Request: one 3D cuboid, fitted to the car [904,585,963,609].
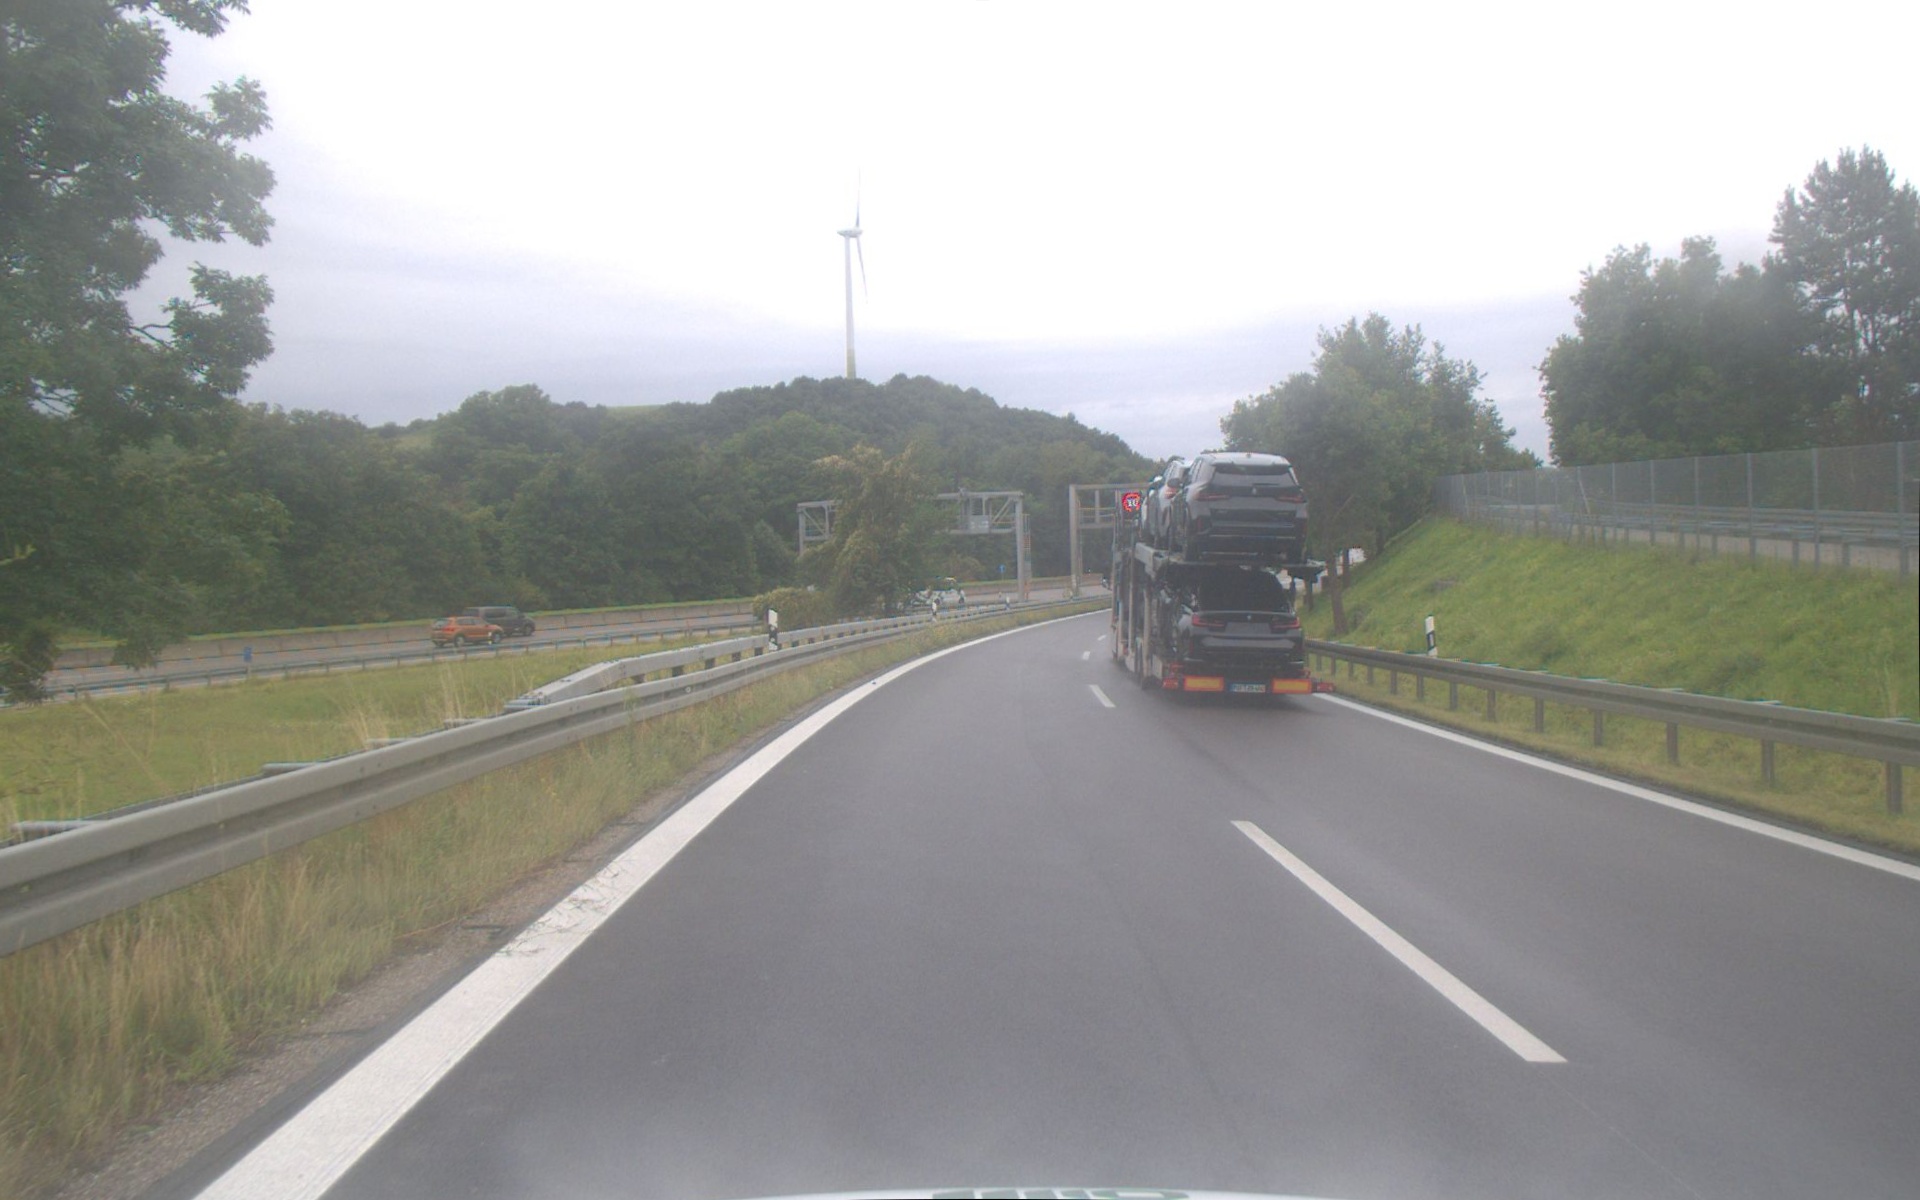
[{"bbox_3d":[-1.979,-0.260,125.584,1.958,1.747,5.311,-1,0,32],"label":"car"}]

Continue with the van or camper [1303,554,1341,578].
[{"bbox_3d":[31.900,-2.976,145.770,1.956,2.049,4.576,-1,0,30],"label":"van or camper"}]

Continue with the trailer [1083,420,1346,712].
[{"bbox_3d":[4.074,-0.478,29.576,3.377,4.069,12.031,1,0,3],"label":"trailer"}]

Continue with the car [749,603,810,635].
[{"bbox_3d":[-12.508,1.291,114.783,1.958,1.746,3.991,-6,1,33],"label":"car"}]

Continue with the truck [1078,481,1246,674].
[{"bbox_3d":[4.731,-0.471,41.037,3.324,4.069,10.850,1,0,3],"label":"truck"}]

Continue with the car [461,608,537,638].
[{"bbox_3d":[-27.023,1.328,97.128,1.959,1.690,3.987,-1,0,34],"label":"car"}]

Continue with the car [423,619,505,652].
[{"bbox_3d":[-27.058,1.939,90.314,1.891,1.299,3.991,-6,1,33],"label":"car"}]
